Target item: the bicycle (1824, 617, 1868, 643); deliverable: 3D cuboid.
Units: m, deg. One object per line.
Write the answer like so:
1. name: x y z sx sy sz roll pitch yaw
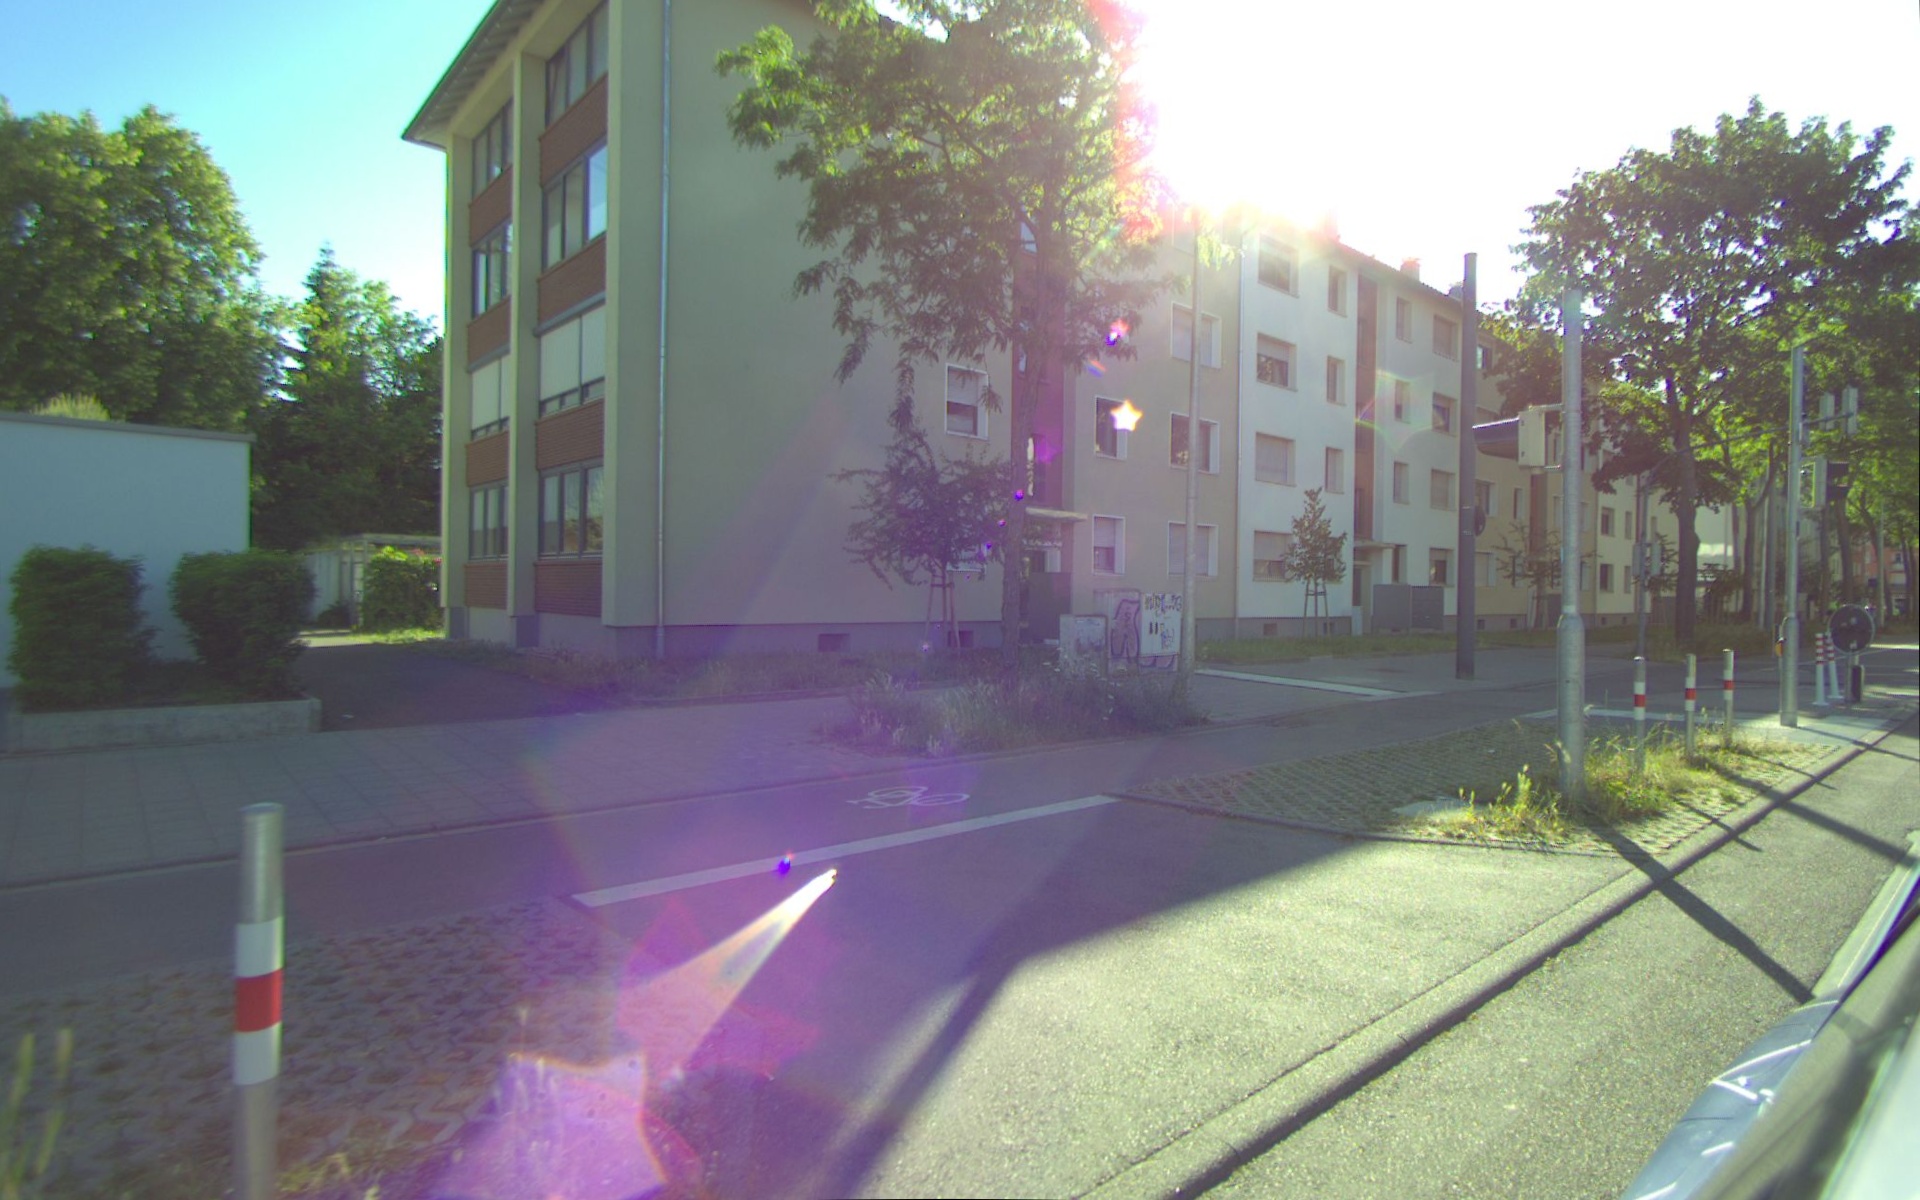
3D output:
1. bicycle: 33.067 1.112 37.767 2.158 0.897 0.827 0 1 -38

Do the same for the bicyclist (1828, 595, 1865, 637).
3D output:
1. bicyclist: 33.098 0.588 37.785 1.235 1.518 0.819 1 0 -38
